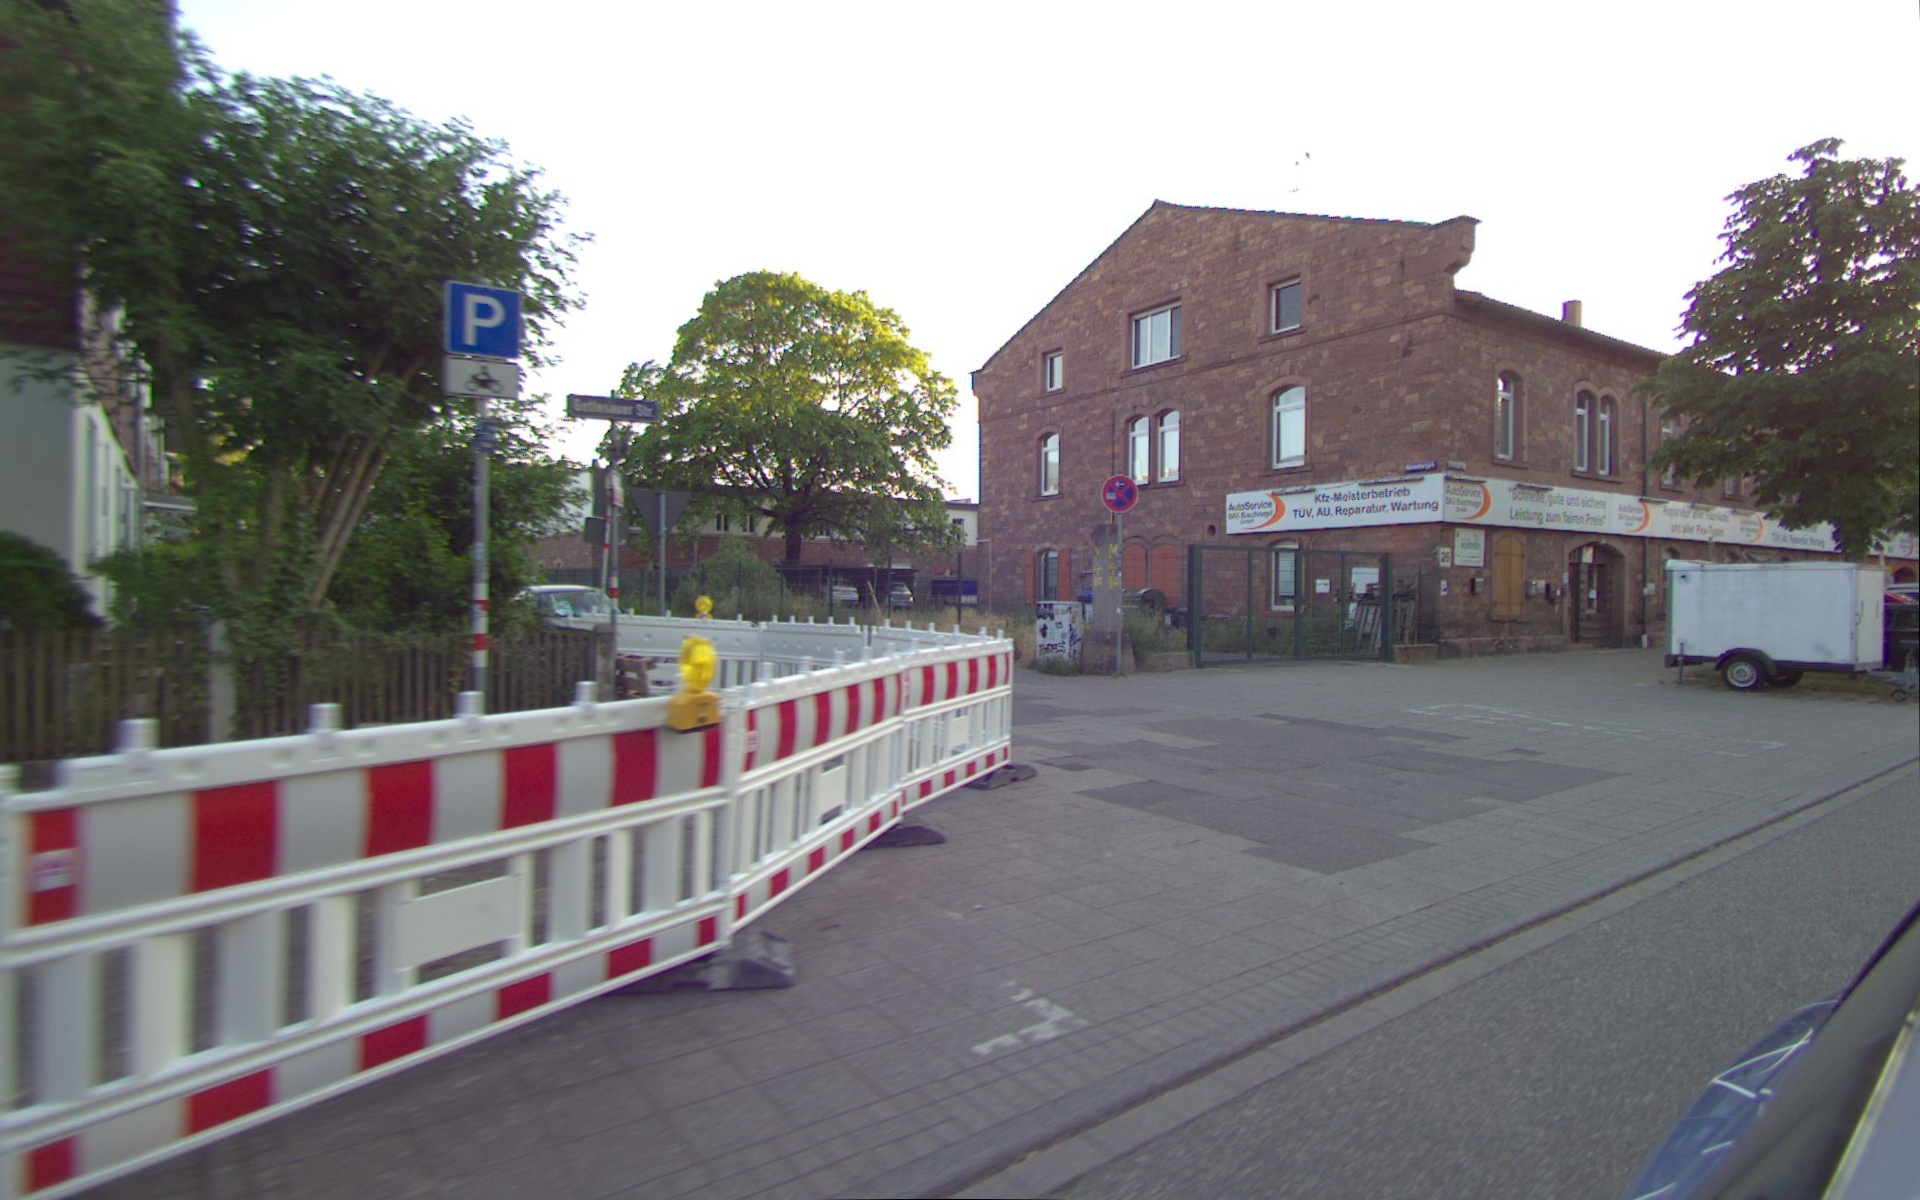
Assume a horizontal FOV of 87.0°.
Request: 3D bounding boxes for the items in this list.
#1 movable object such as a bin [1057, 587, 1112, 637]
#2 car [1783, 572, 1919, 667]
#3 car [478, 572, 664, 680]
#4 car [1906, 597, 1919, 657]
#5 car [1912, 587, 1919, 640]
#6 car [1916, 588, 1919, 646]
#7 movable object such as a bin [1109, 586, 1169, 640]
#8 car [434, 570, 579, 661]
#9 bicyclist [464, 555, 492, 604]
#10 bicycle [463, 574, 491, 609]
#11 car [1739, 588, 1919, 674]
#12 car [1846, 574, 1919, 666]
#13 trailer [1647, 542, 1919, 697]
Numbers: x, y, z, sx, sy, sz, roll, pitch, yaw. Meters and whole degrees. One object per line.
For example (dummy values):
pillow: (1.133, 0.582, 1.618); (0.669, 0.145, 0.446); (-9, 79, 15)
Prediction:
movable object such as a bin: (3.699, 0.344, 30.093); (1.038, 1.462, 1.290); (0, 0, -33)
car: (19.189, 0.361, 19.909); (1.868, 1.822, 4.314); (0, 0, -36)
car: (-6.948, 0.388, 17.863); (1.964, 1.684, 3.996); (0, 0, -39)
car: (26.986, 0.714, 25.827); (1.787, 1.585, 3.955); (0, 0, -38)
car: (30.867, 0.566, 29.317); (1.944, 1.594, 4.430); (1, 3, -36)
car: (28.962, 0.584, 27.505); (1.859, 1.638, 4.001); (0, 3, -36)
movable object such as a bin: (4.972, 0.336, 28.196); (1.075, 1.462, 1.265); (0, 0, -33)
car: (-9.934, 0.286, 22.020); (1.964, 1.790, 3.996); (0, 0, -39)
bicyclist: (-17.418, -0.739, 36.565); (0.731, 1.720, 0.980); (0, 0, -40)
bicycle: (-17.480, -0.304, 36.626); (0.444, 1.239, 1.880); (0, 0, -40)
car: (17.335, 0.540, 18.631); (1.740, 1.518, 4.441); (0, 0, -36)
car: (21.387, 0.425, 21.163); (1.963, 1.928, 3.999); (0, 0, -36)
trailer: (13.752, 0.270, 16.298); (1.961, 2.215, 4.001); (0, 0, -33)
